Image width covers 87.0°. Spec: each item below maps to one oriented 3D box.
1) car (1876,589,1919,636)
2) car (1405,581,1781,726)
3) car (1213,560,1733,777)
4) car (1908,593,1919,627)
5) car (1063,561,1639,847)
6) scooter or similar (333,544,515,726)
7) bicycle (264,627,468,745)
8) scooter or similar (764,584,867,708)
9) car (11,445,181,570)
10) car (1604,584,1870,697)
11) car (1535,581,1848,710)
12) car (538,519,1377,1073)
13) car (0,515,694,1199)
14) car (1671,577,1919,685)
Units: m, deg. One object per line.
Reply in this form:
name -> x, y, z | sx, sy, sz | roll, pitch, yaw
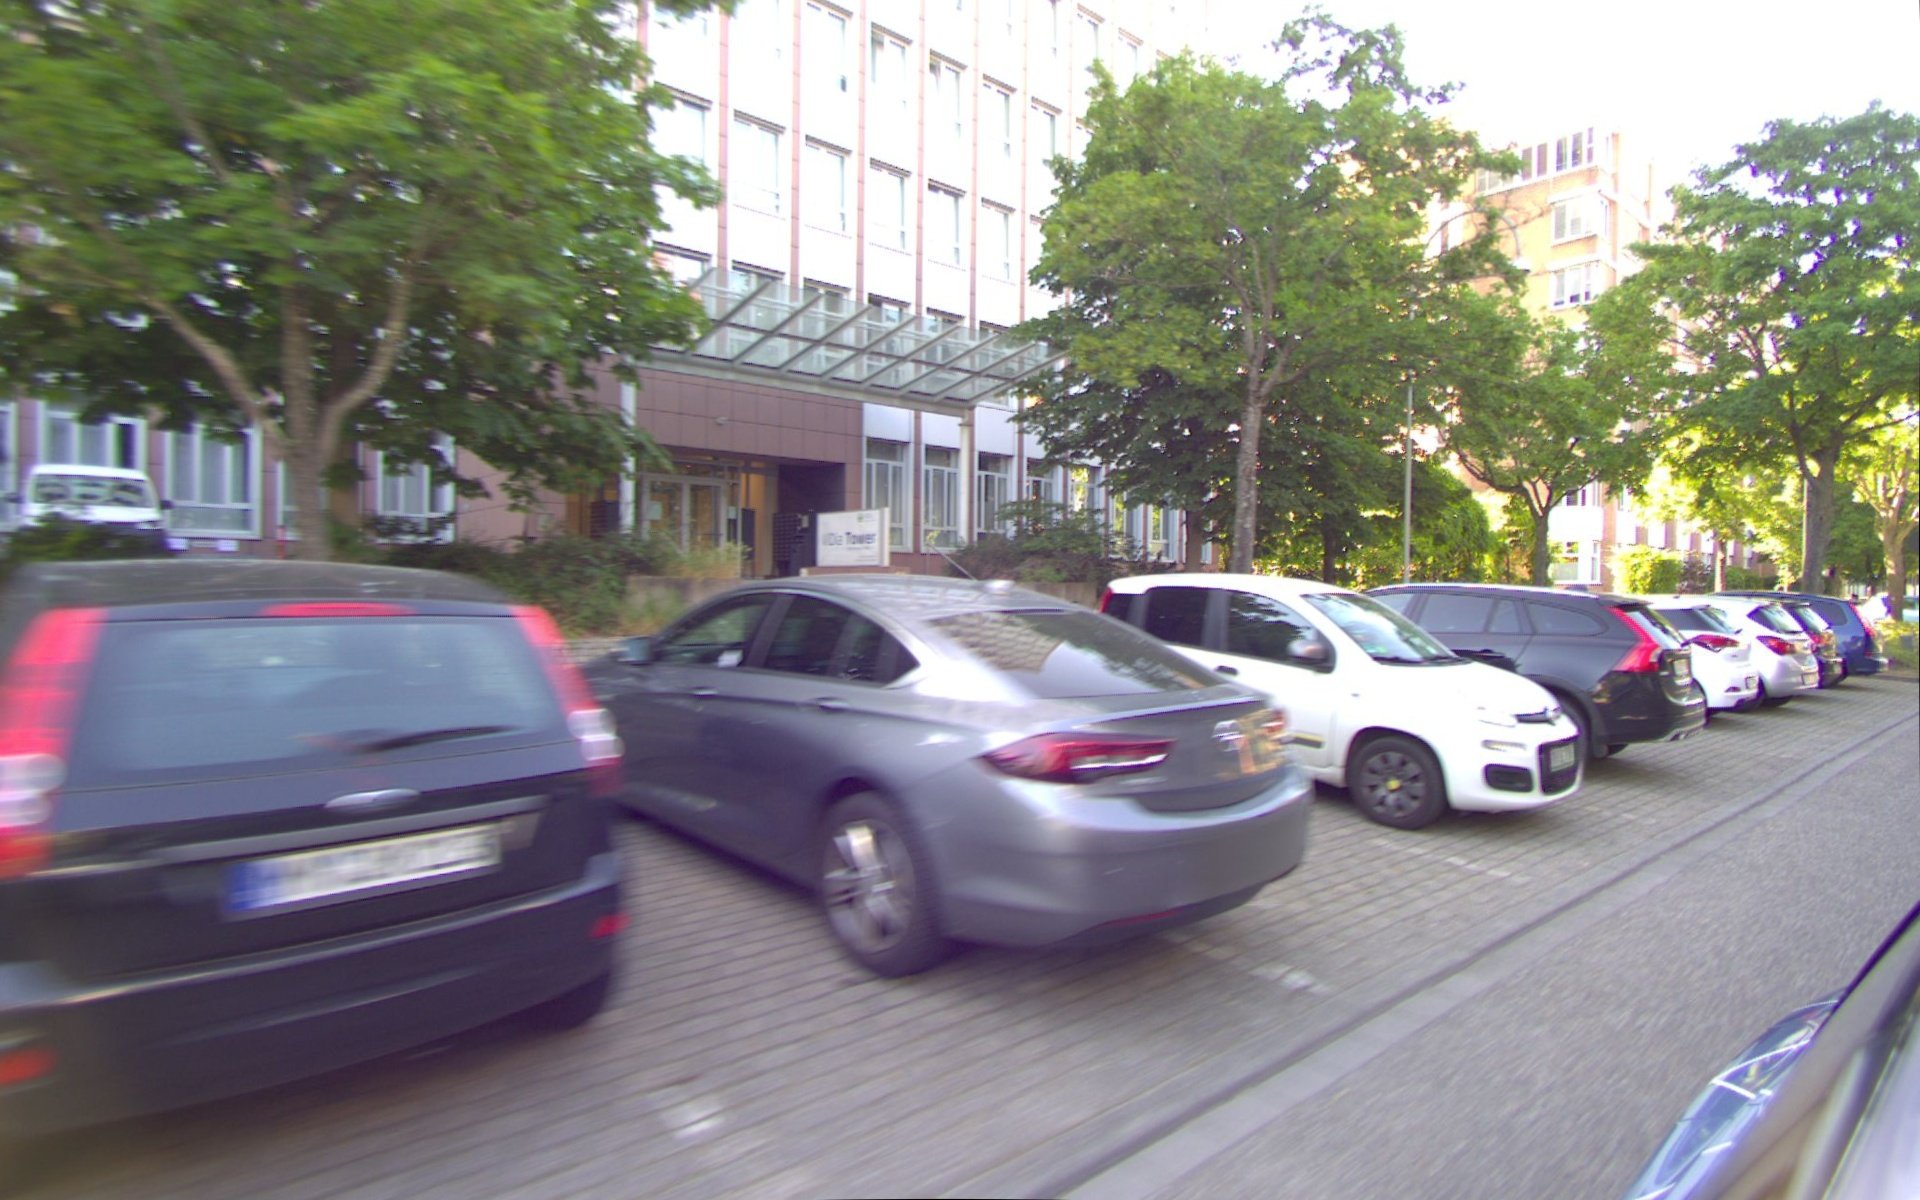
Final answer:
car -> 36.777, 0.460, 37.423 | 1.966, 1.727, 4.159 | 0, 1, -42
car -> 7.909, 0.554, 12.906 | 1.629, 1.471, 3.751 | 0, 2, -42
car -> 4.518, 0.450, 9.352 | 1.656, 1.569, 3.975 | 0, 1, -44
car -> 44.128, 0.456, 44.008 | 1.918, 1.490, 3.996 | 0, 1, -39
car -> 2.664, 0.514, 7.482 | 1.694, 1.525, 3.579 | 0, 3, -41
scooter or similar -> -4.487, 0.267, 8.522 | 1.293, 1.419, 0.414 | 0, 0, -44
bicycle -> -4.362, 0.604, 7.478 | 1.256, 0.783, 0.334 | 1, 0, -42
scooter or similar -> -1.465, 0.438, 10.377 | 0.270, 1.201, 1.232 | 0, 0, 36
car -> -14.320, -1.378, 16.672 | 1.845, 1.707, 4.720 | 0, 1, -44
car -> 12.058, 0.548, 15.838 | 1.469, 1.477, 2.999 | 0, 3, -38
car -> 10.093, 0.523, 14.143 | 1.559, 1.497, 3.206 | 0, 2, -37
car -> -0.451, 0.518, 5.154 | 1.827, 1.573, 4.427 | 0, 1, -41
car -> -2.657, 0.512, 3.514 | 3.712, 1.499, 1.697 | 3, 3, 44
car -> 14.556, 0.466, 17.747 | 1.575, 1.624, 3.055 | 0, 2, -38
